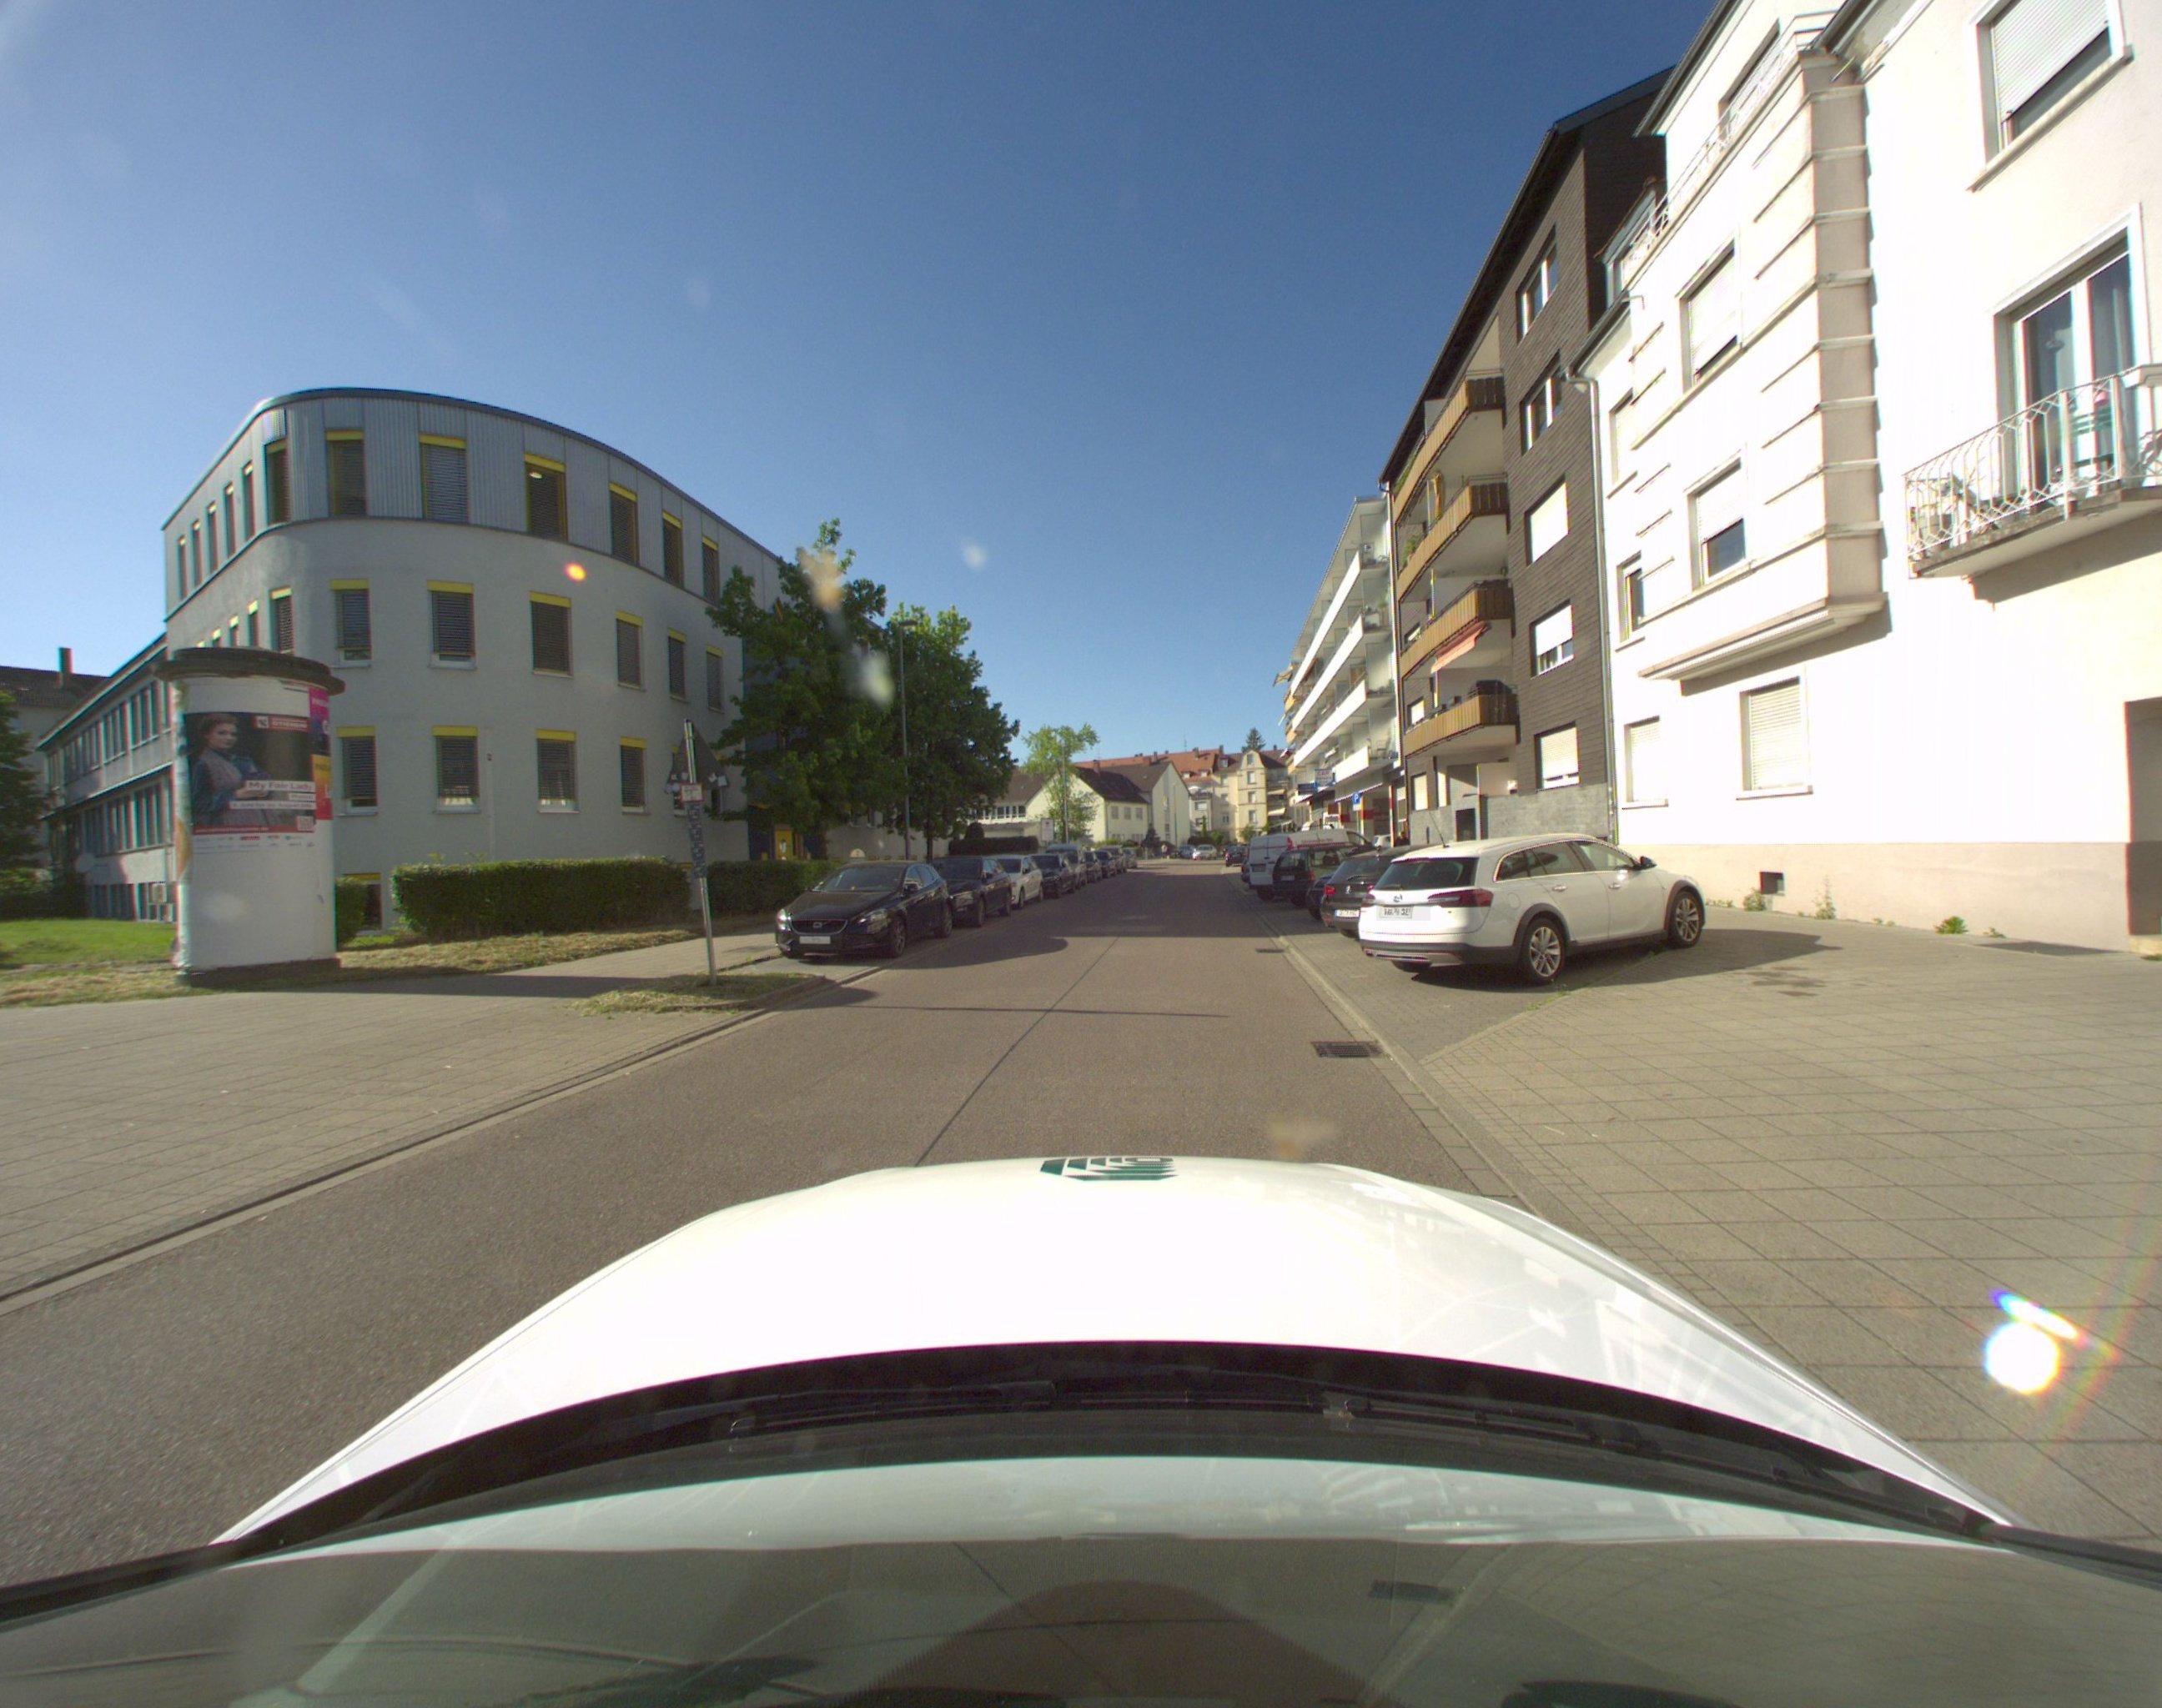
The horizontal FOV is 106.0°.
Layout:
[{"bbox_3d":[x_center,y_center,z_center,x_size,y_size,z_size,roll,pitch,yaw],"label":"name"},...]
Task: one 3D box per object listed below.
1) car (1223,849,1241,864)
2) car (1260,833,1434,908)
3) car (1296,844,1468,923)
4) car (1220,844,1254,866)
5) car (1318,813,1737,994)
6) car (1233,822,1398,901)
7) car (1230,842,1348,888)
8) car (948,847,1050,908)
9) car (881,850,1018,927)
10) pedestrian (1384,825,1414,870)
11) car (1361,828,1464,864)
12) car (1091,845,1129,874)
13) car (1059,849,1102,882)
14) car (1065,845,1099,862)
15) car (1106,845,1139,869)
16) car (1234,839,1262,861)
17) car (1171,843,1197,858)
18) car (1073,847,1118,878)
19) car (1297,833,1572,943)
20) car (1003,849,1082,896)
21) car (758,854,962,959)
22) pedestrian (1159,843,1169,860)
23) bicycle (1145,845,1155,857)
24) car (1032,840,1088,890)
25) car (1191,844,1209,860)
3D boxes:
[{"bbox_3d":[17.708,0.331,95.624,1.731,1.513,3.737,-4,-2,7],"label":"car"},{"bbox_3d":[6.660,0.405,20.380,4.003,1.489,1.603,-4,-1,-24],"label":"car"},{"bbox_3d":[6.184,0.546,16.633,3.409,1.388,1.524,-2,0,-32],"label":"car"},{"bbox_3d":[11.328,0.036,58.960,1.956,1.450,5.024,-2,0,16],"label":"car"},{"bbox_3d":[5.388,0.426,9.704,4.886,1.463,1.955,-5,1,-27],"label":"car"},{"bbox_3d":[6.888,0.200,23.818,4.548,1.898,2.028,-4,-2,-33],"label":"car"},{"bbox_3d":[7.991,0.405,31.084,4.667,1.466,1.672,-3,-1,-35],"label":"car"},{"bbox_3d":[-2.203,0.615,23.269,1.898,1.530,4.633,-2,0,6],"label":"car"},{"bbox_3d":[-2.798,0.688,18.393,1.898,1.479,4.388,-2,0,6],"label":"car"},{"bbox_3d":[11.718,-0.245,30.064,0.827,1.593,0.892,-3,-1,13],"label":"pedestrian"},{"bbox_3d":[16.624,-0.386,41.017,4.367,1.512,1.983,-3,-1,7],"label":"car"},{"bbox_3d":[1.813,0.311,49.203,1.709,1.586,4.433,-2,1,9],"label":"car"},{"bbox_3d":[0.036,0.507,38.013,1.590,1.440,4.007,-1,0,6],"label":"car"},{"bbox_3d":[0.110,-0.012,77.236,1.782,1.556,3.208,-3,-2,31],"label":"car"},{"bbox_3d":[3.059,0.185,59.002,1.983,1.534,4.929,-2,1,7],"label":"car"},{"bbox_3d":[14.387,-0.309,70.053,1.802,1.653,4.581,-2,-2,18],"label":"car"},{"bbox_3d":[11.083,-0.397,87.414,1.782,1.473,4.354,-1,1,22],"label":"car"},{"bbox_3d":[0.831,0.423,43.395,1.715,1.465,4.451,-2,1,9],"label":"car"},{"bbox_3d":[5.791,0.494,13.308,4.180,1.497,1.807,-2,-2,-26],"label":"car"},{"bbox_3d":[-1.242,0.572,28.169,1.722,1.439,4.624,-2,0,10],"label":"car"},{"bbox_3d":[-3.424,0.743,13.547,1.779,1.410,4.231,-1,0,6],"label":"car"},{"bbox_3d":[8.614,-0.280,84.254,0.676,1.703,0.829,-3,-2,29],"label":"pedestrian"},{"bbox_3d":[7.475,-0.330,88.222,0.452,1.250,1.937,-2,-2,20],"label":"bicycle"},{"bbox_3d":[-0.777,0.378,32.823,1.679,1.838,4.349,-2,1,6],"label":"car"},{"bbox_3d":[12.000,-0.220,81.918,1.715,1.485,4.117,-2,1,9],"label":"car"}]
